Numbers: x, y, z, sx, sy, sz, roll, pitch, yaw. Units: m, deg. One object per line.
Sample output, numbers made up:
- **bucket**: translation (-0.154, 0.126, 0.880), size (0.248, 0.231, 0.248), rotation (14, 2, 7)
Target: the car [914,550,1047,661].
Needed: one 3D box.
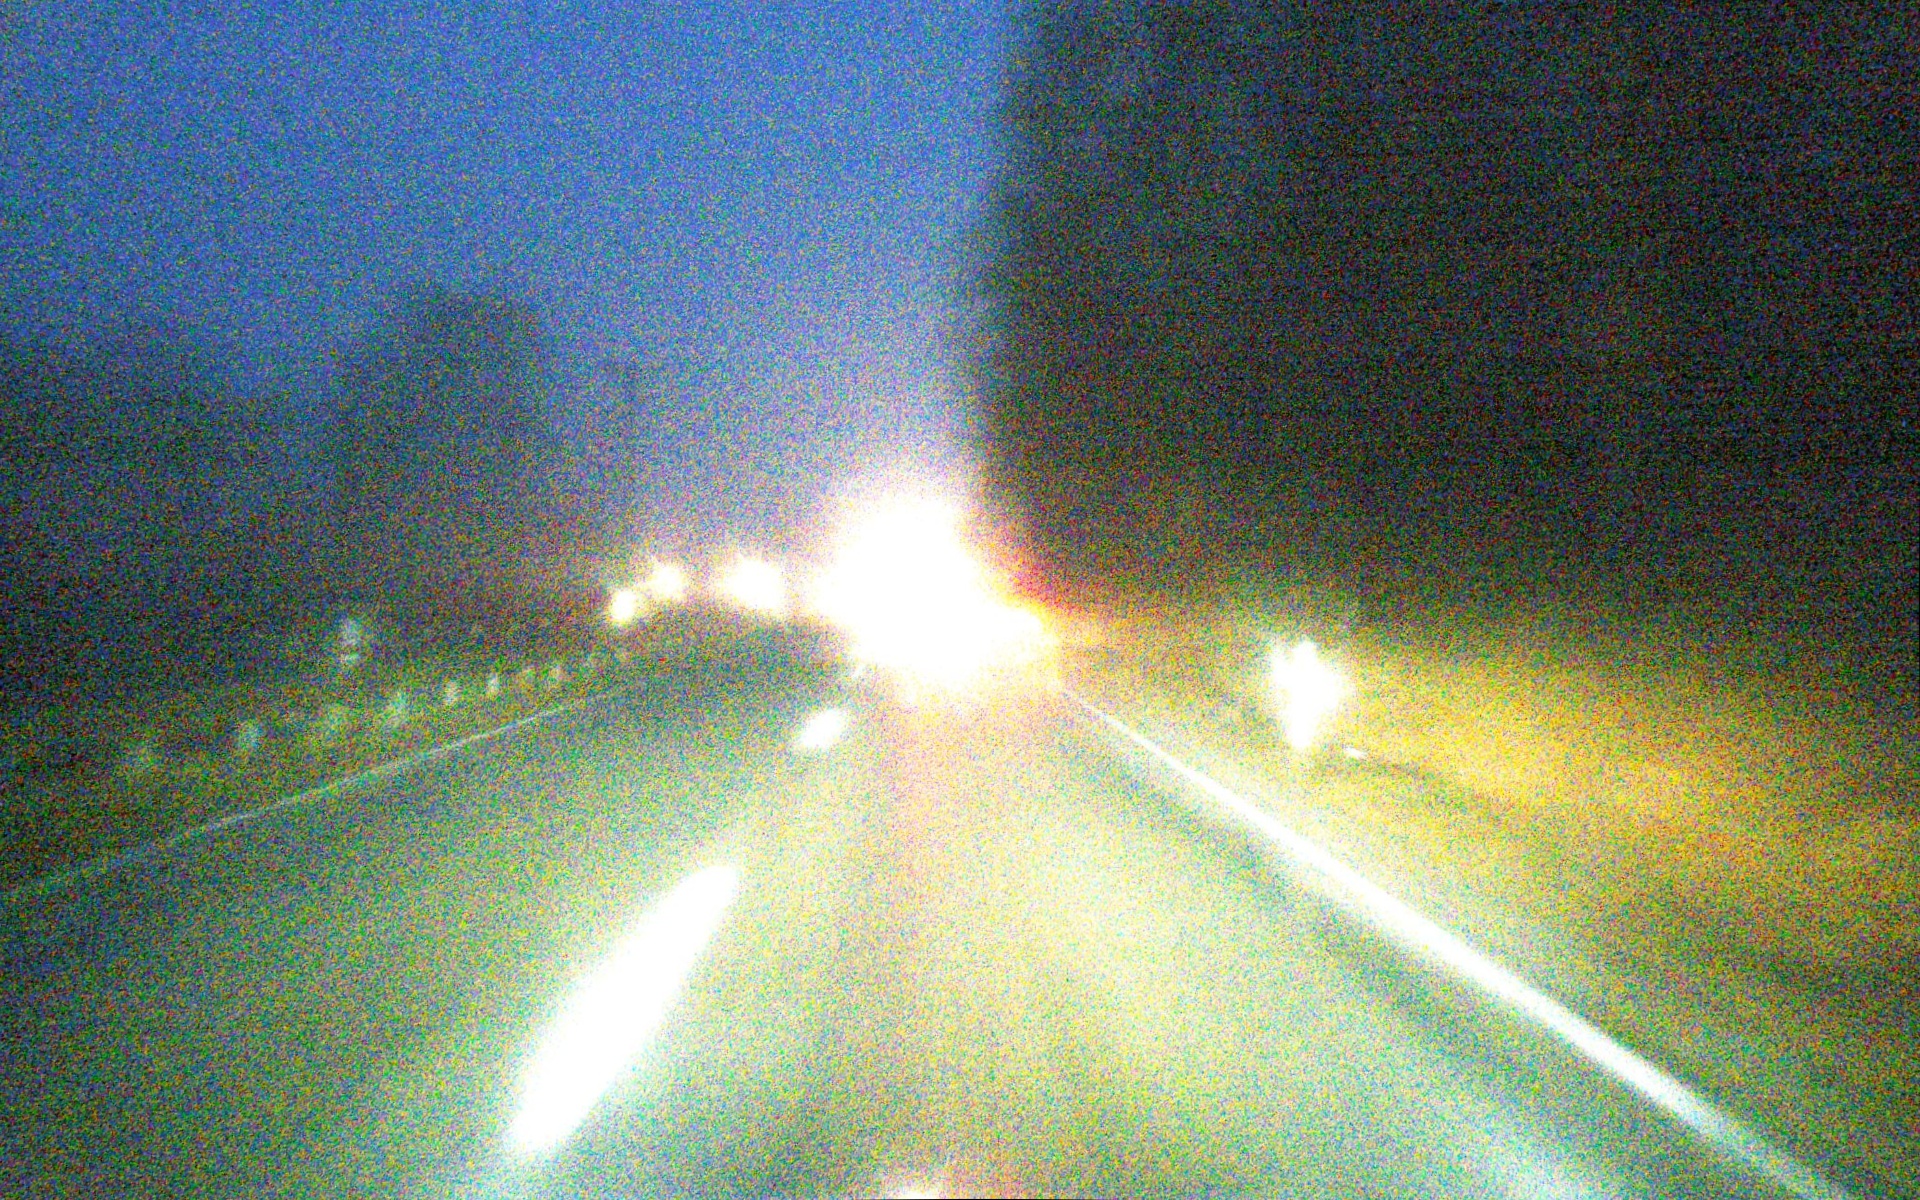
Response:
- **car**: translation (0.339, 0.105, 32.854), size (2.408, 1.993, 4.910), rotation (-1, 0, -1)

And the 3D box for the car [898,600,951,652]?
- **car**: translation (-1.541, 1.114, 70.960), size (1.955, 2.048, 3.996), rotation (-4, -1, -4)
